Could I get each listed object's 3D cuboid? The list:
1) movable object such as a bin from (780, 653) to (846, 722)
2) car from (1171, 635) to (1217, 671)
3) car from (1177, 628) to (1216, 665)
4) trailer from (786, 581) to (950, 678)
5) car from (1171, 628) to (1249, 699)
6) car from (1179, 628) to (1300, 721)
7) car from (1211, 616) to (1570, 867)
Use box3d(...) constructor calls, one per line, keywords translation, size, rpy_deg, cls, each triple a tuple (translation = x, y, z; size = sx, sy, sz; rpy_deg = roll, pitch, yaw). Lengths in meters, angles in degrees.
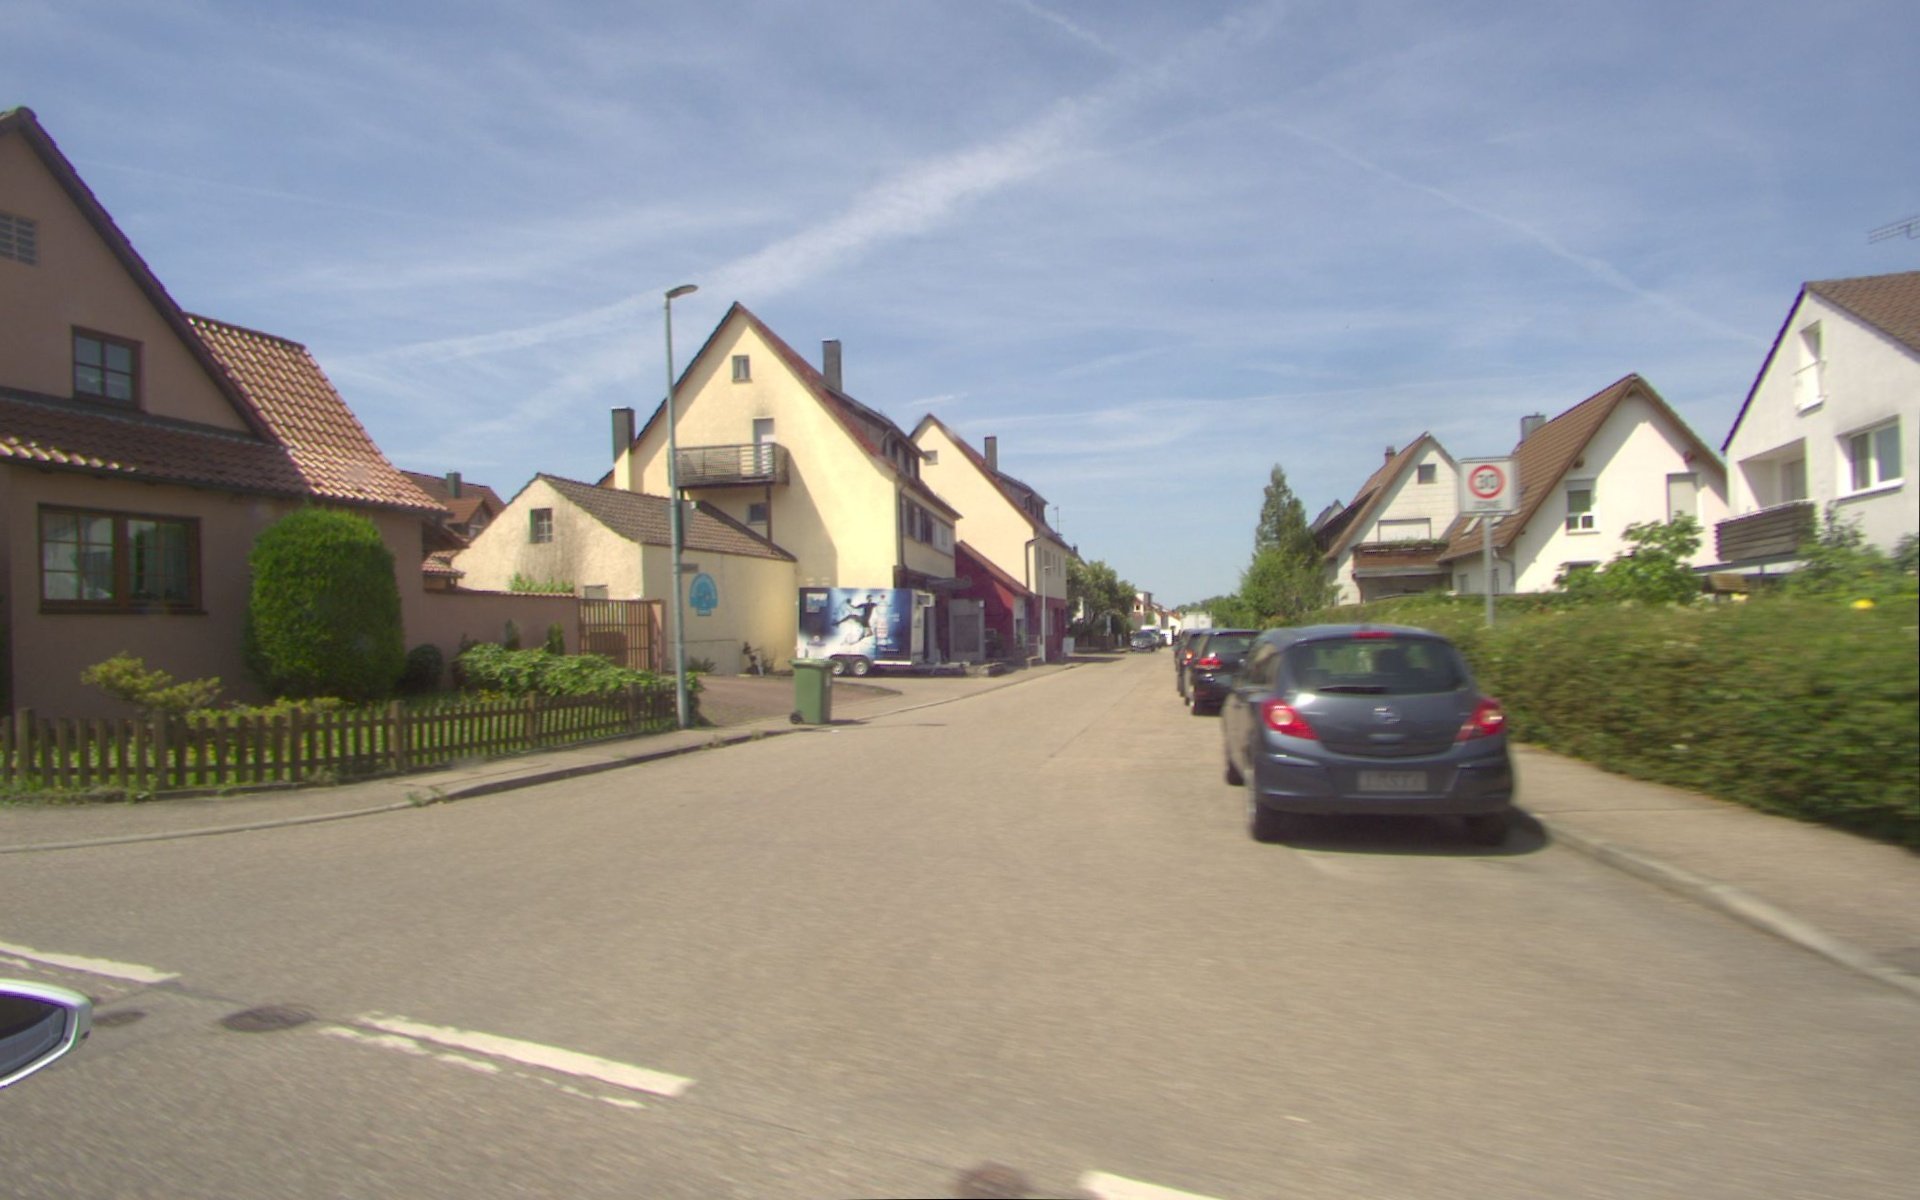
box3d(translation=(-2.420, 1.438, 16.522), size=(0.992, 1.109, 0.499), rpy_deg=(0, -1, 6), cls="movable object such as a bin")
box3d(translation=(9.180, 2.045, 39.458), size=(1.617, 1.342, 3.445), rpy_deg=(0, -2, 11), cls="car")
box3d(translation=(10.767, 2.088, 45.759), size=(1.617, 1.622, 3.445), rpy_deg=(0, -2, 11), cls="car")
box3d(translation=(-2.790, 0.909, 30.848), size=(4.675, 2.850, 2.000), rpy_deg=(-1, -1, 9), cls="trailer")
box3d(translation=(5.916, 1.467, 24.003), size=(1.617, 1.553, 3.445), rpy_deg=(0, -2, 11), cls="car")
box3d(translation=(5.031, 1.285, 18.471), size=(1.819, 1.507, 3.908), rpy_deg=(0, -2, 11), cls="car")
box3d(translation=(3.108, 0.918, 8.085), size=(1.854, 1.507, 3.815), rpy_deg=(-1, -2, 11), cls="car")
